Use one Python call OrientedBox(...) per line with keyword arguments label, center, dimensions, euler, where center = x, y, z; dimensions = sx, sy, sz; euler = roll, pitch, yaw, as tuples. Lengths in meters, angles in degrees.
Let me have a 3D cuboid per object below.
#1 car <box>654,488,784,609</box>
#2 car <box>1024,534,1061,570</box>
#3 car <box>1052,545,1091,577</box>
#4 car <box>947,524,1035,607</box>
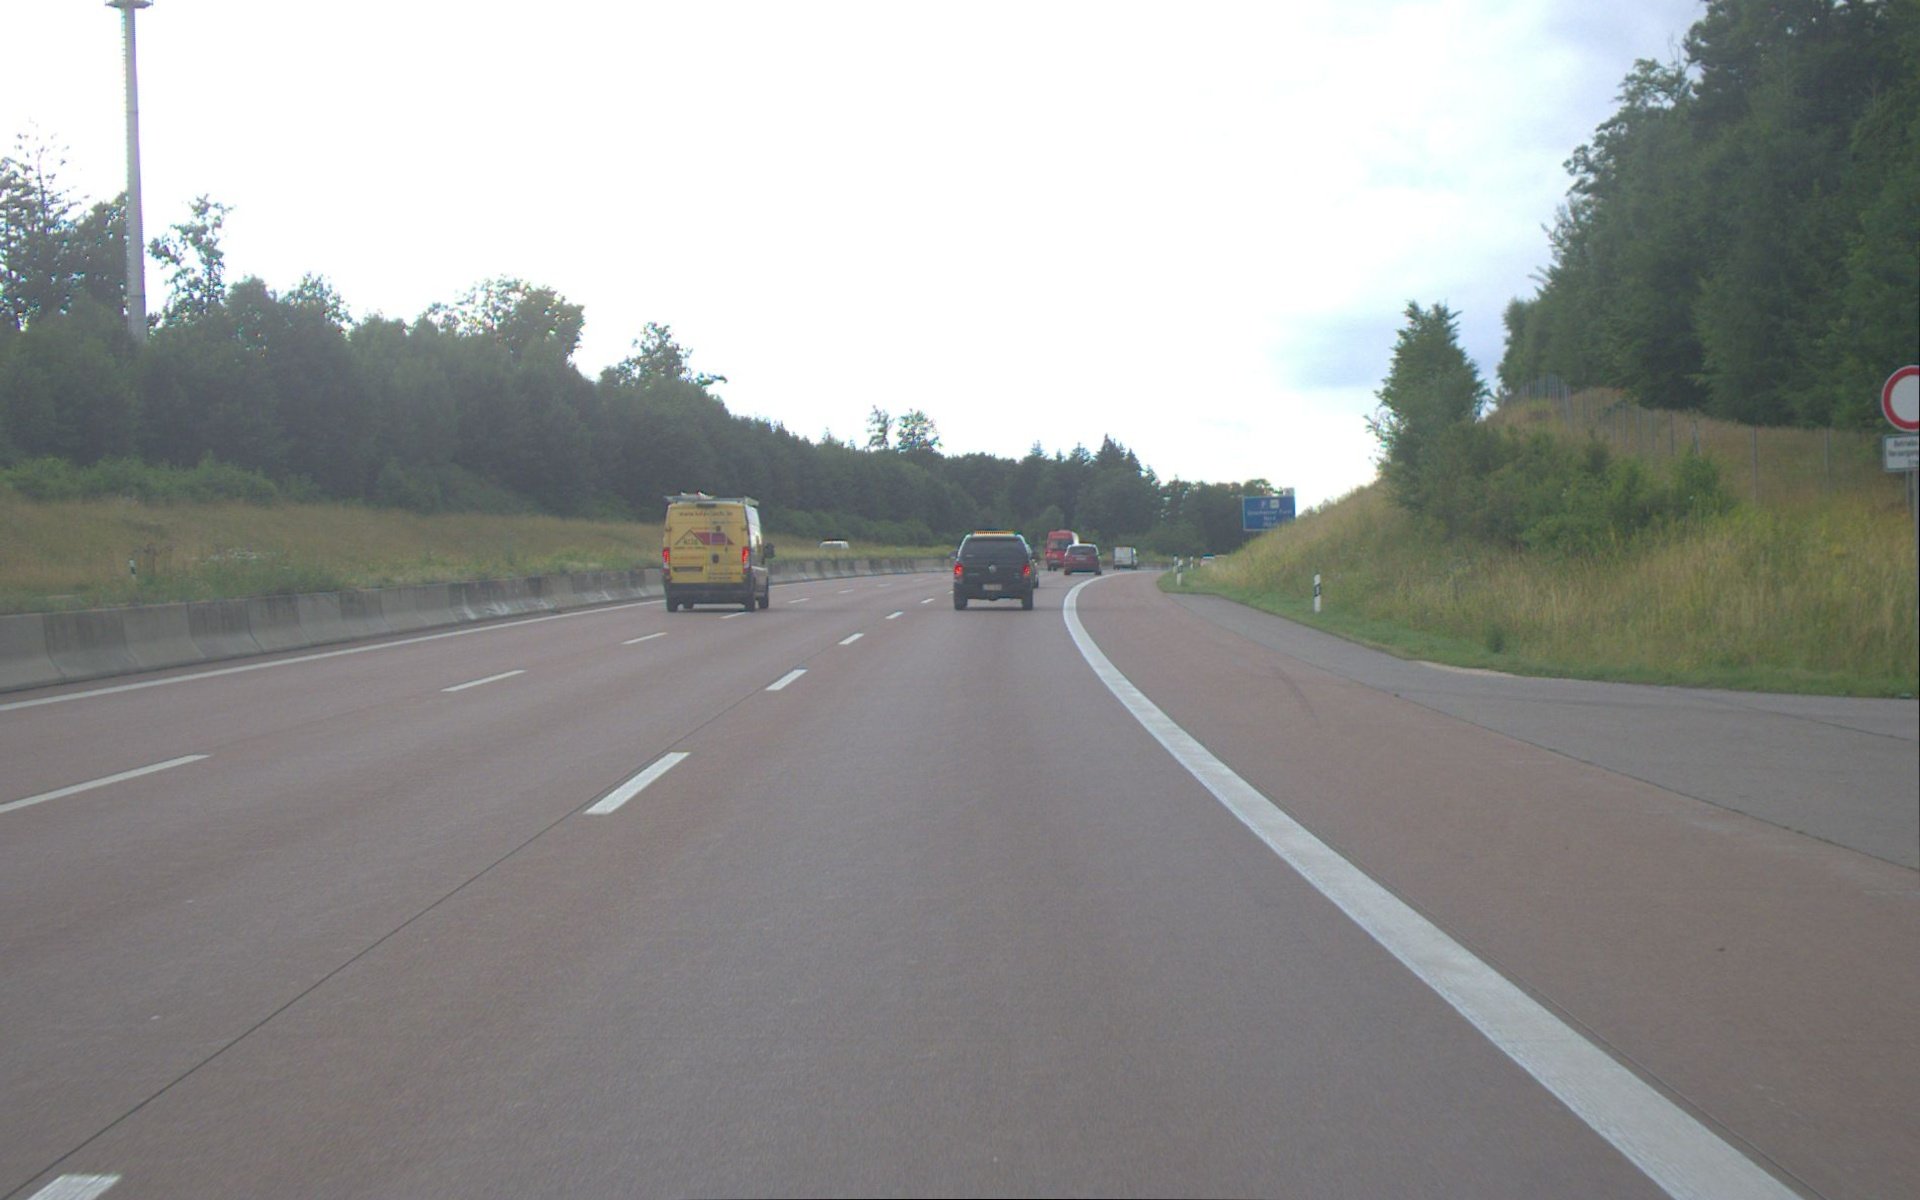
OrientedBox(label="car", center=(-5.633, -1.156, 81.017), dimensions=(2.459, 2.697, 5.613), euler=(-1, 0, 2))
OrientedBox(label="car", center=(5.616, -3.256, 233.318), dimensions=(2.241, 2.422, 6.204), euler=(0, 1, 4))
OrientedBox(label="car", center=(5.844, -2.054, 181.047), dimensions=(1.978, 1.642, 4.619), euler=(0, 1, 1))
OrientedBox(label="car", center=(0.764, -0.803, 83.116), dimensions=(2.044, 1.890, 5.577), euler=(-1, 0, 1))
